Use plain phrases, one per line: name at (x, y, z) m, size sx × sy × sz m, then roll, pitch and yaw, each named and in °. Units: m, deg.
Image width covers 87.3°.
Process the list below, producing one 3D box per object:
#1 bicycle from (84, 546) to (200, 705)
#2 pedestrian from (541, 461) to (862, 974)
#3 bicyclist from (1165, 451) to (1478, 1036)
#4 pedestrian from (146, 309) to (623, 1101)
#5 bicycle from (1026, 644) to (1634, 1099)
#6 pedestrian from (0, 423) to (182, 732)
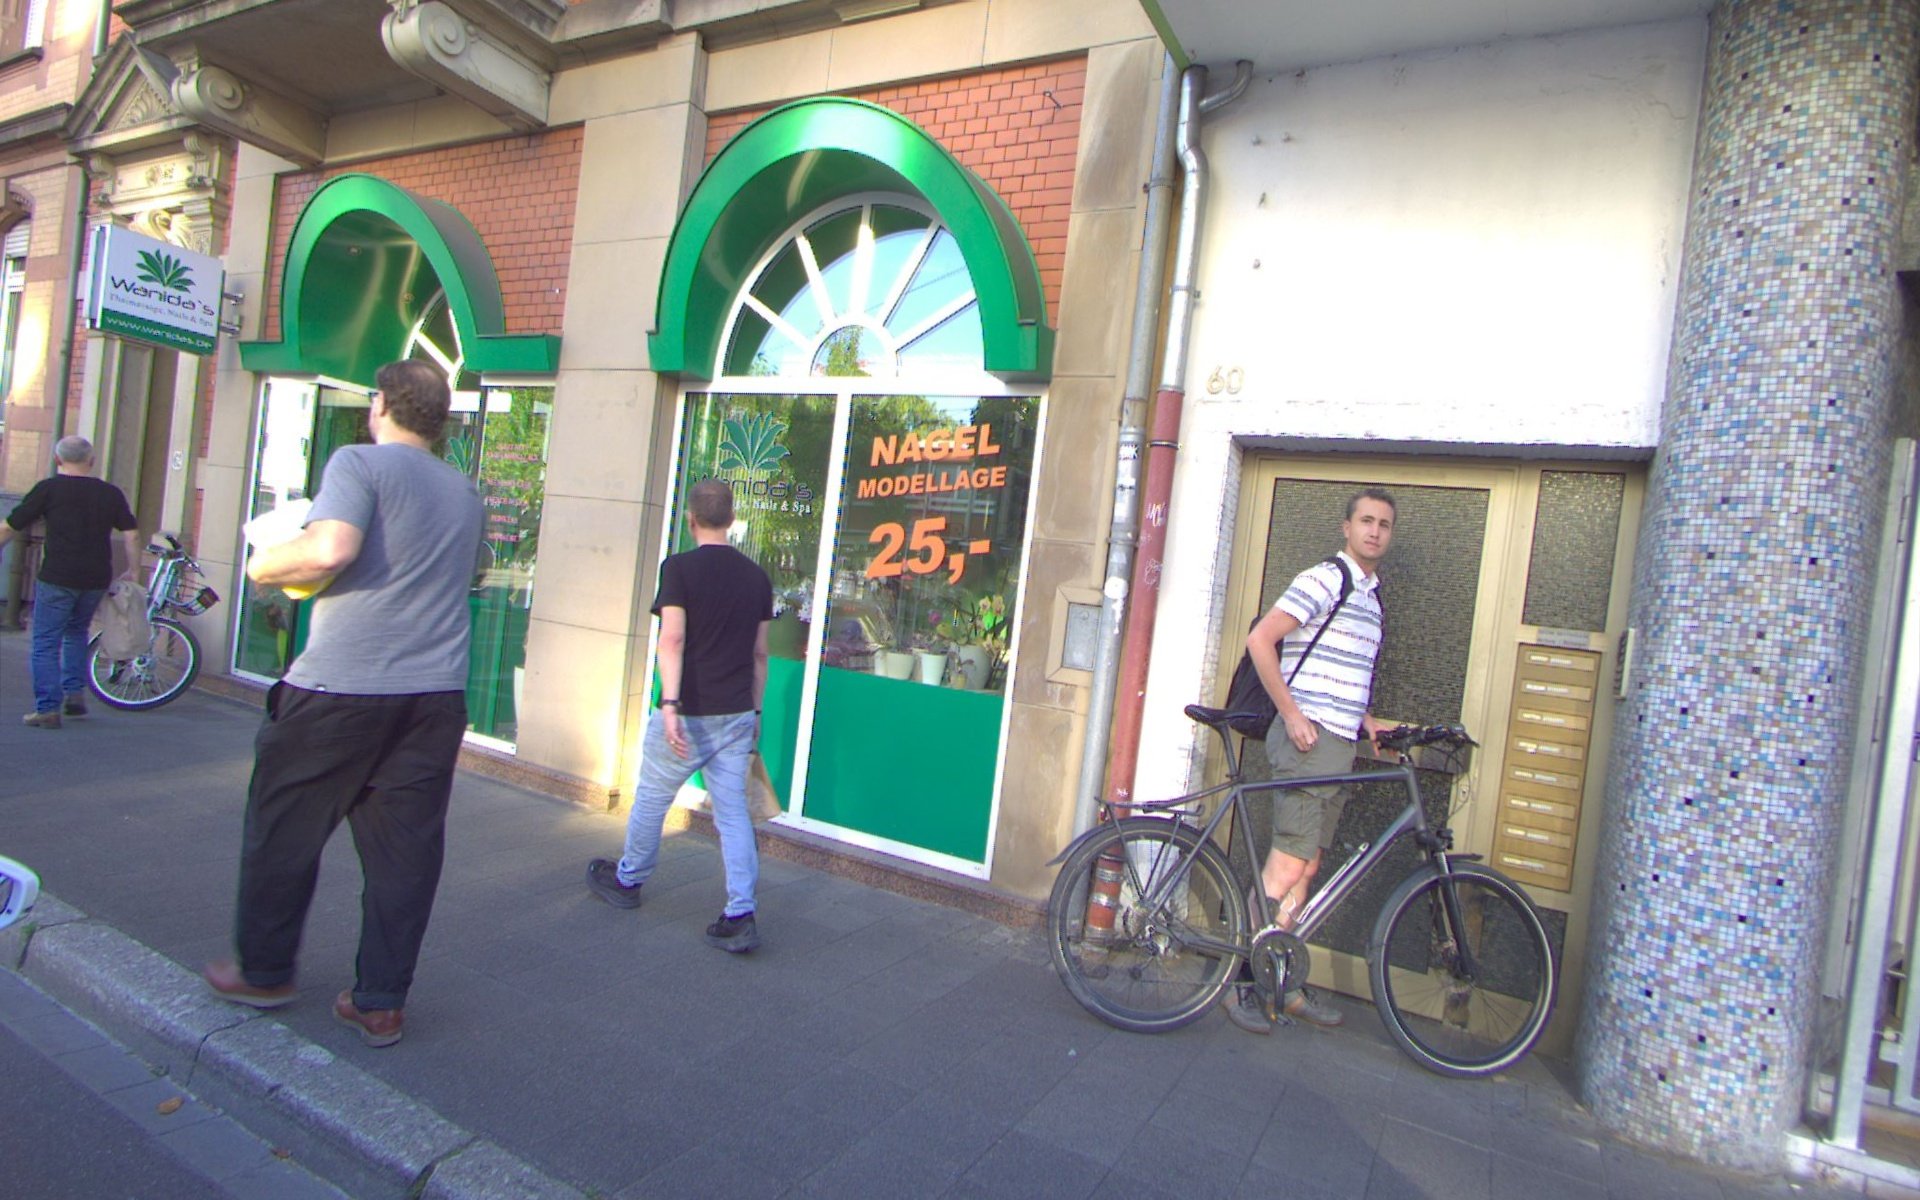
bicycle at (-5.981, 0.165, 7.337) m, size 1.222 × 1.009 × 0.344 m, roll 7°, pitch 2°, yaw 38°
pedestrian at (-0.997, 0.401, 3.959) m, size 0.741 × 1.746 × 0.776 m, roll 7°, pitch 2°, yaw 29°
bicyclist at (1.282, 0.490, 3.713) m, size 0.730 × 1.905 × 0.600 m, roll 7°, pitch 1°, yaw 3°
pedestrian at (-1.656, 0.244, 2.955) m, size 0.741 × 1.919 × 0.822 m, roll 7°, pitch 2°, yaw 29°
bicycle at (1.250, 0.920, 3.713) m, size 1.859 × 1.269 × 0.668 m, roll 7°, pitch 1°, yaw 3°
pedestrian at (-5.491, -0.141, 6.196) m, size 0.741 × 1.746 × 0.776 m, roll 7°, pitch 2°, yaw 29°
